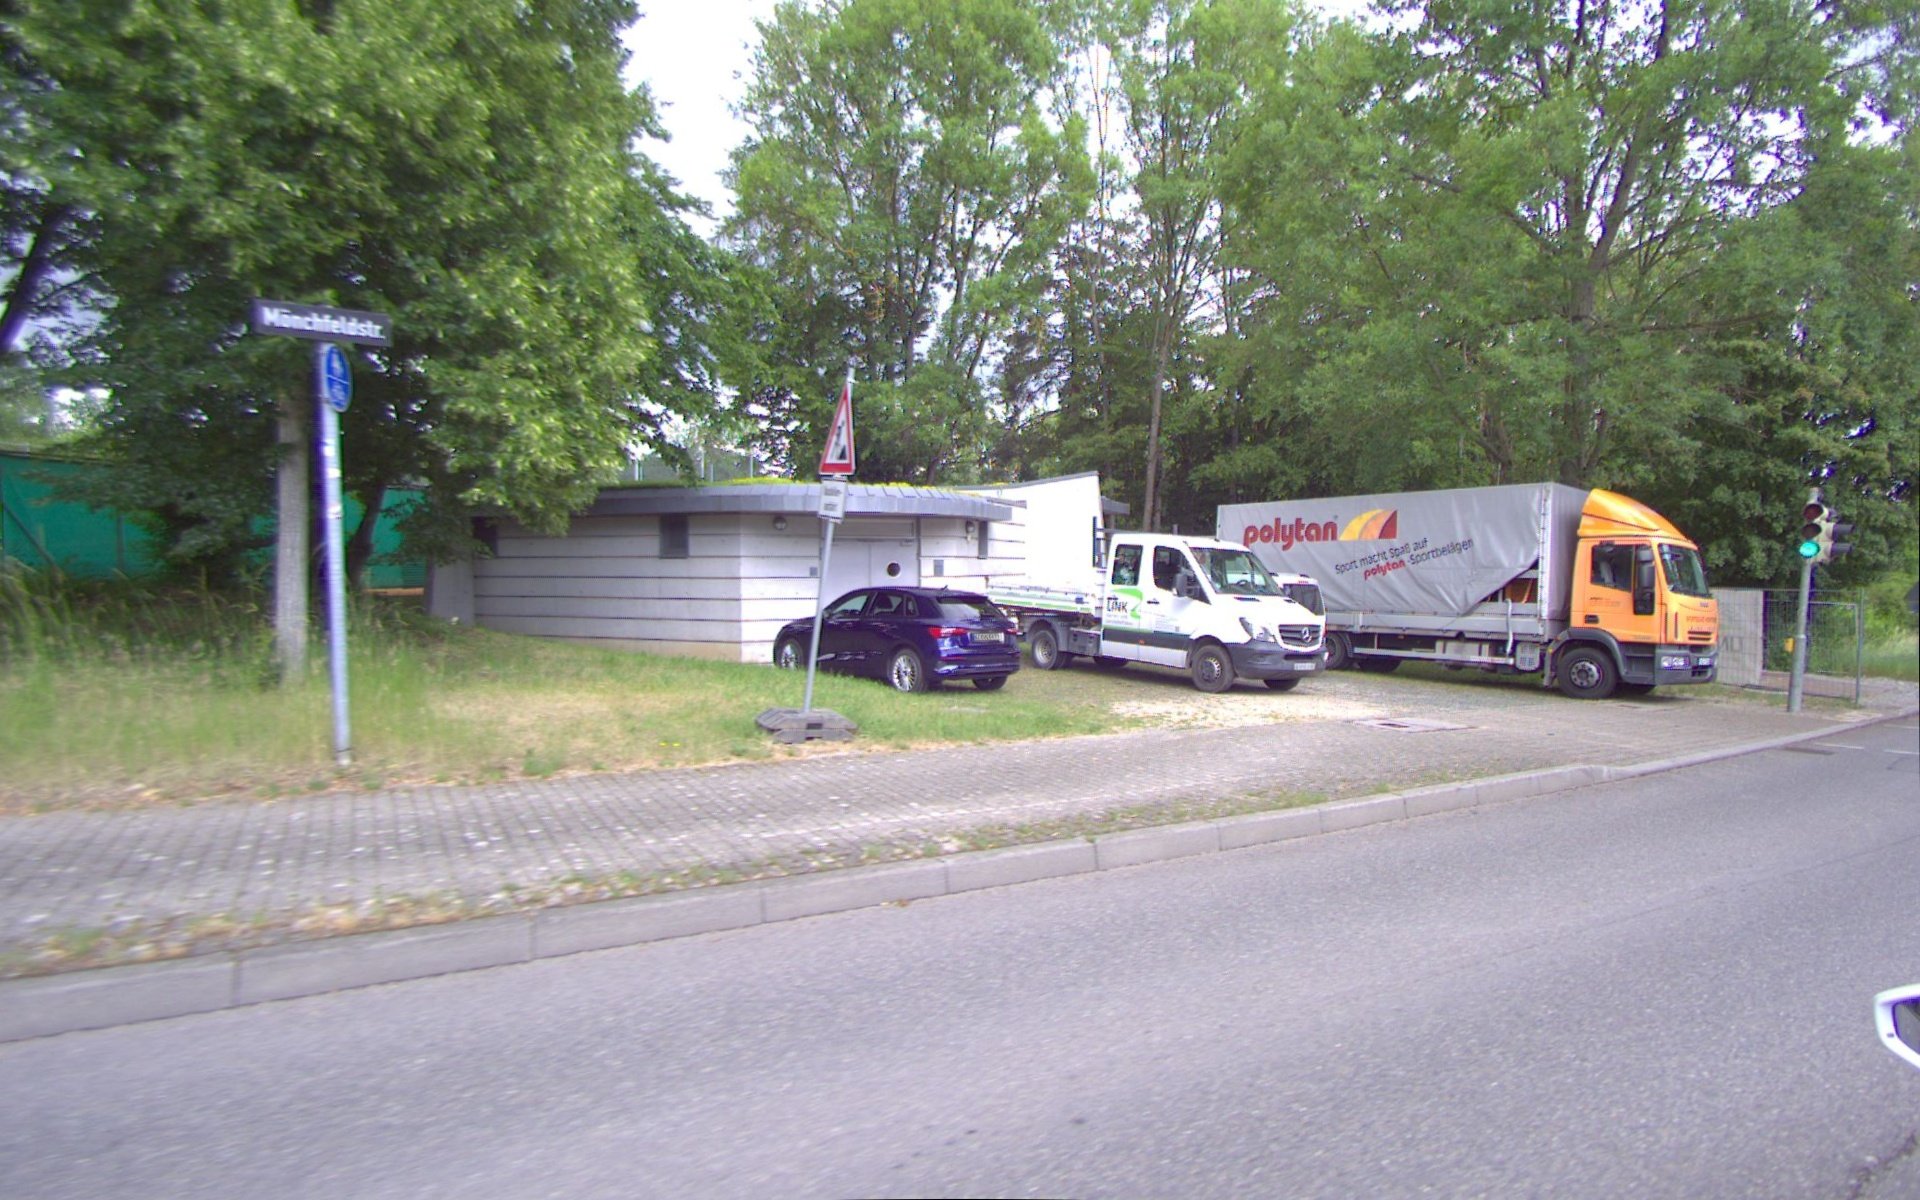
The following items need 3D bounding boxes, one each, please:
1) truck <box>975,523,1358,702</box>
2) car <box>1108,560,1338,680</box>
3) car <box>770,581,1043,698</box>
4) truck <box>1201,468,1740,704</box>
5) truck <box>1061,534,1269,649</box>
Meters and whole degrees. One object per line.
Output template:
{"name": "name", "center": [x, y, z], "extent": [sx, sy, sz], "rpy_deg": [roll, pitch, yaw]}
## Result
{"name": "truck", "center": [3.110, 0.037, 16.835], "extent": [2.105, 2.448, 6.335], "rpy_deg": [2, 2, -38]}
{"name": "car", "center": [4.915, 0.291, 19.239], "extent": [1.766, 1.935, 3.956], "rpy_deg": [0, 3, -38]}
{"name": "car", "center": [-0.886, 0.511, 14.452], "extent": [1.706, 1.344, 3.947], "rpy_deg": [4, -1, -44]}
{"name": "truck", "center": [9.195, -0.335, 19.671], "extent": [2.541, 3.578, 9.165], "rpy_deg": [2, 1, -36]}
{"name": "truck", "center": [6.246, -0.328, 31.050], "extent": [5.820, 3.243, 2.444], "rpy_deg": [2, 2, 37]}
